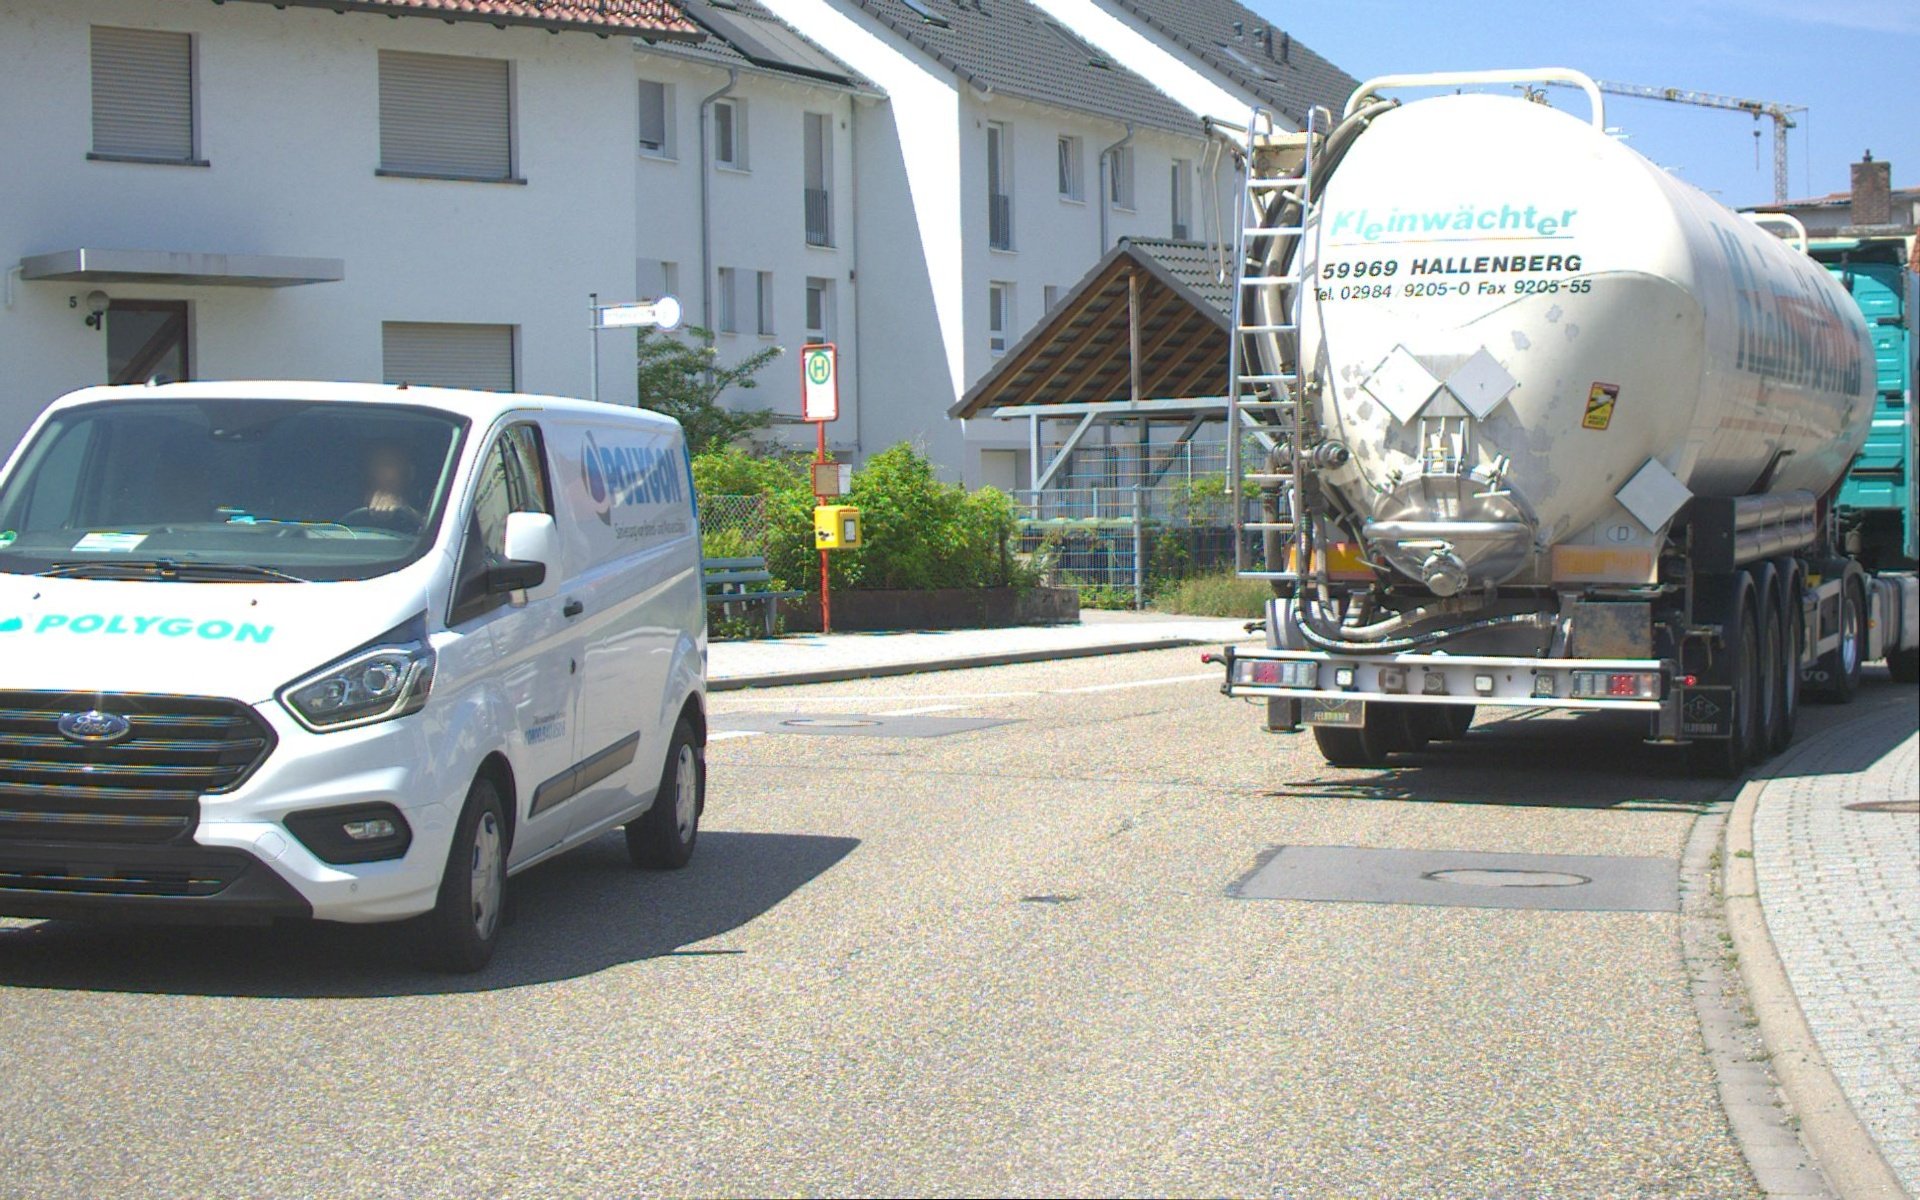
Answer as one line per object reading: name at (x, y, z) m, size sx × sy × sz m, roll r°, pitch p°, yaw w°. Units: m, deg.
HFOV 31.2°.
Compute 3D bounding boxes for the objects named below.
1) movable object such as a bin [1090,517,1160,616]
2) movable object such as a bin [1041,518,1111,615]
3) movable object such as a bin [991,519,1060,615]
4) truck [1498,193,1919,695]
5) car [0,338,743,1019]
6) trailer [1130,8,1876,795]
movable object such as a bin at (2.175, -0.448, 45.276) m, size 0.641 × 1.274 × 0.693 m, roll 1°, pitch 2°, yaw 39°
movable object such as a bin at (1.544, -0.452, 45.804) m, size 0.641 × 1.274 × 0.693 m, roll 1°, pitch 2°, yaw 39°
movable object such as a bin at (0.886, -0.456, 46.275) m, size 0.641 × 1.274 × 0.693 m, roll 1°, pitch 2°, yaw 39°
truck at (7.098, -1.285, 30.278) m, size 2.992 × 3.951 × 5.570 m, roll 0°, pitch 1°, yaw 28°
car at (-2.307, 0.137, 12.849) m, size 1.994 × 1.993 × 5.213 m, roll 1°, pitch 2°, yaw 7°
trailer at (4.207, -1.135, 23.178) m, size 2.955 × 3.934 × 11.608 m, roll 0°, pitch 1°, yaw 19°
